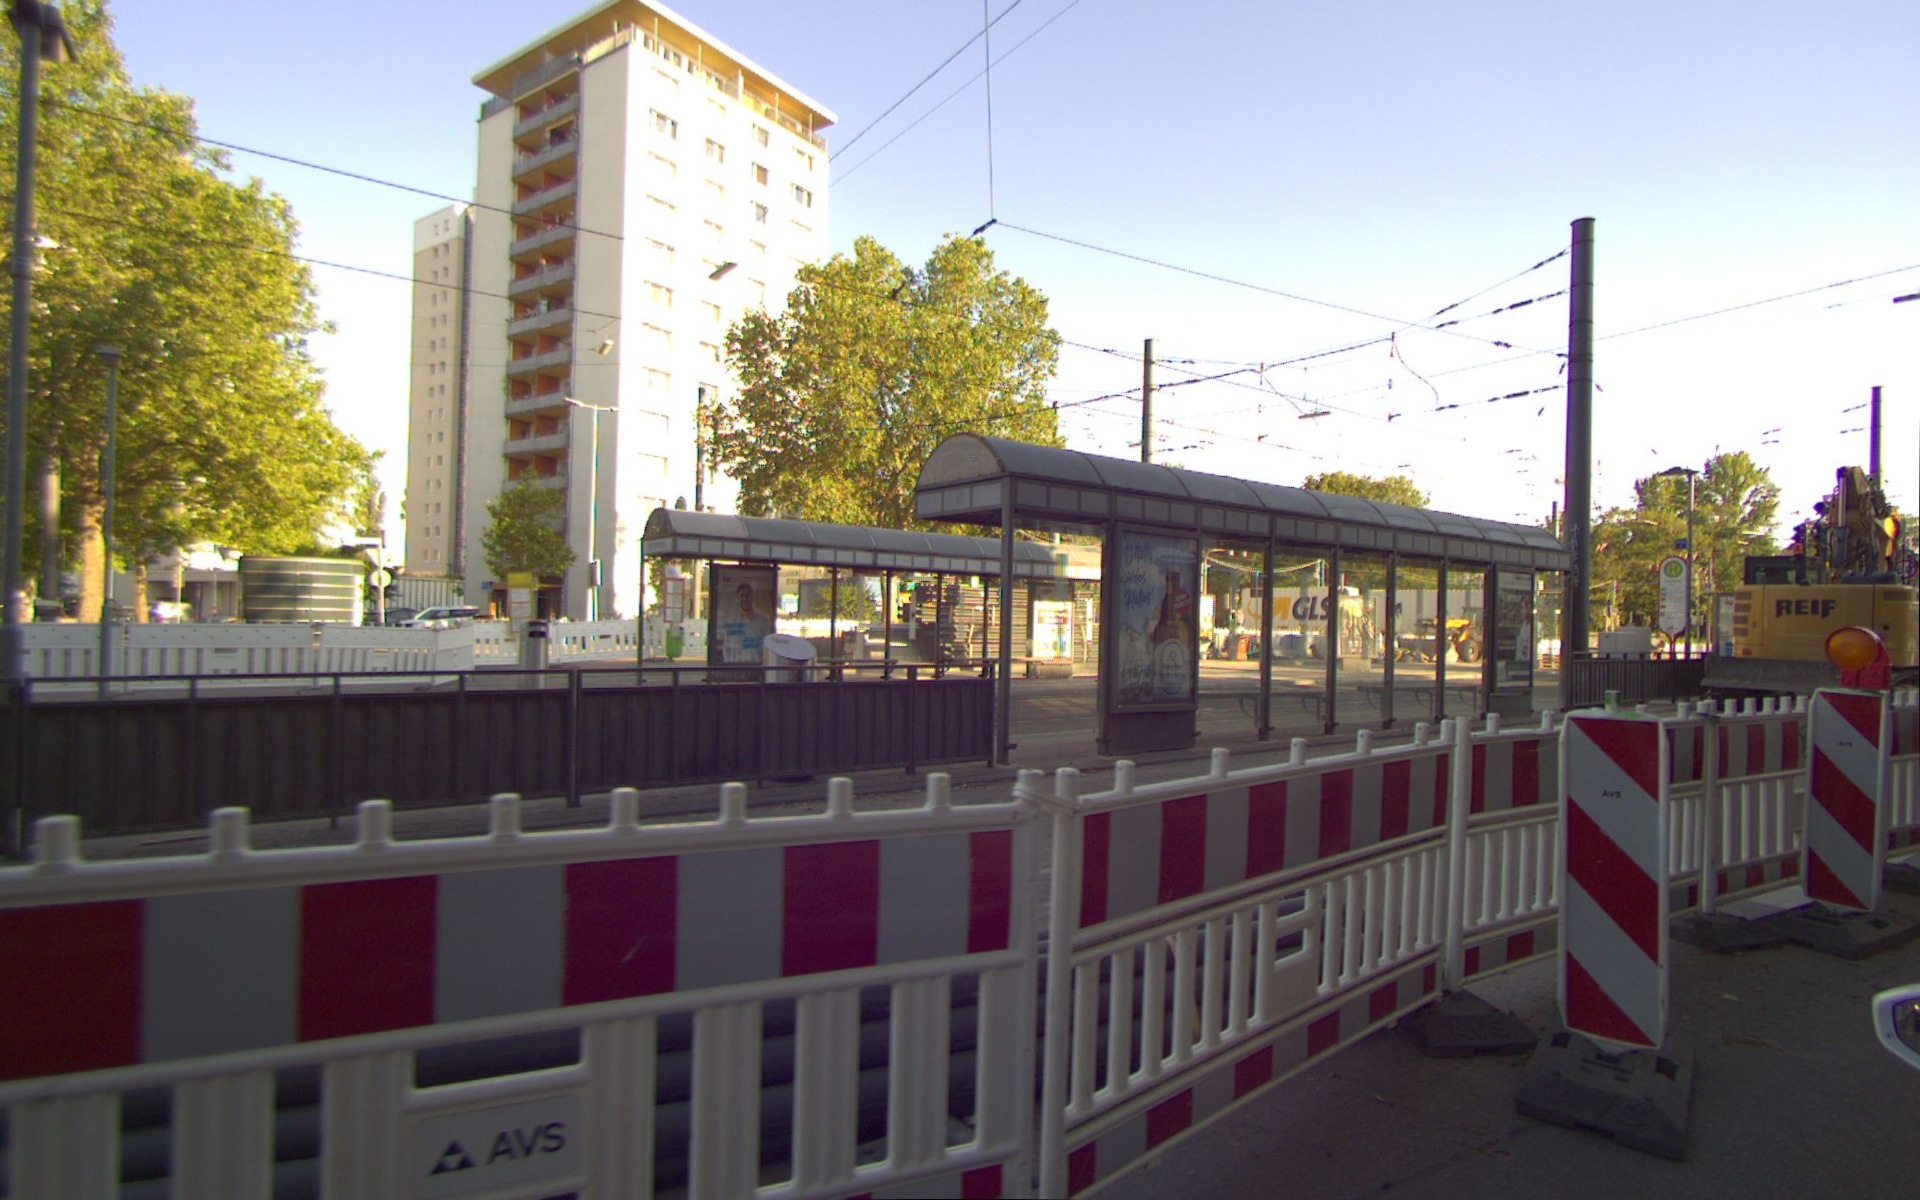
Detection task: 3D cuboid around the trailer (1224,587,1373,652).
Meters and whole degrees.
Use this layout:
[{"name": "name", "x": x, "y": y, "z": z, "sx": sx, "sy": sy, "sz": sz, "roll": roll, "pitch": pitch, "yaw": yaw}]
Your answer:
[{"name": "trailer", "x": 22.821, "y": 1.244, "z": 68.230, "sx": 2.877, "sy": 3.848, "sz": 9.125, "roll": 3, "pitch": 0, "yaw": -44}]

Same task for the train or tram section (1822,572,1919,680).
[{"name": "train or tram section", "x": 37.970, "y": 1.111, "z": 35.195, "sx": 13.133, "sy": 3.579, "sz": 2.859, "roll": 2, "pitch": -1, "yaw": -1}]

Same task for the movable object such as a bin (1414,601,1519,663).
[{"name": "movable object such as a bin", "x": 22.830, "y": 1.459, "z": 45.283, "sx": 4.546, "sy": 2.674, "sz": 2.140, "roll": 2, "pitch": -1, "yaw": -31}]

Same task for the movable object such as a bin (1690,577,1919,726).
[{"name": "movable object such as a bin", "x": 15.761, "y": 0.858, "z": 18.404, "sx": 4.859, "sy": 2.348, "sz": 2.622, "roll": 2, "pitch": -1, "yaw": -38}]

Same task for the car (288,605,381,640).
[{"name": "car", "x": -38.254, "y": 1.390, "z": 61.520, "sx": 1.964, "sy": 2.040, "sz": 4.438, "roll": 1, "pitch": -1, "yaw": 28}]

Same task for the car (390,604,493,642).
[{"name": "car", "x": -29.269, "y": 1.295, "z": 56.831, "sx": 1.964, "sy": 2.040, "sz": 4.906, "roll": 1, "pitch": -1, "yaw": 28}]

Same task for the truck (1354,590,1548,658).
[{"name": "truck", "x": 29.946, "y": 1.369, "z": 61.628, "sx": 10.268, "sy": 3.840, "sz": 2.890, "roll": 1, "pitch": -1, "yaw": 38}]
